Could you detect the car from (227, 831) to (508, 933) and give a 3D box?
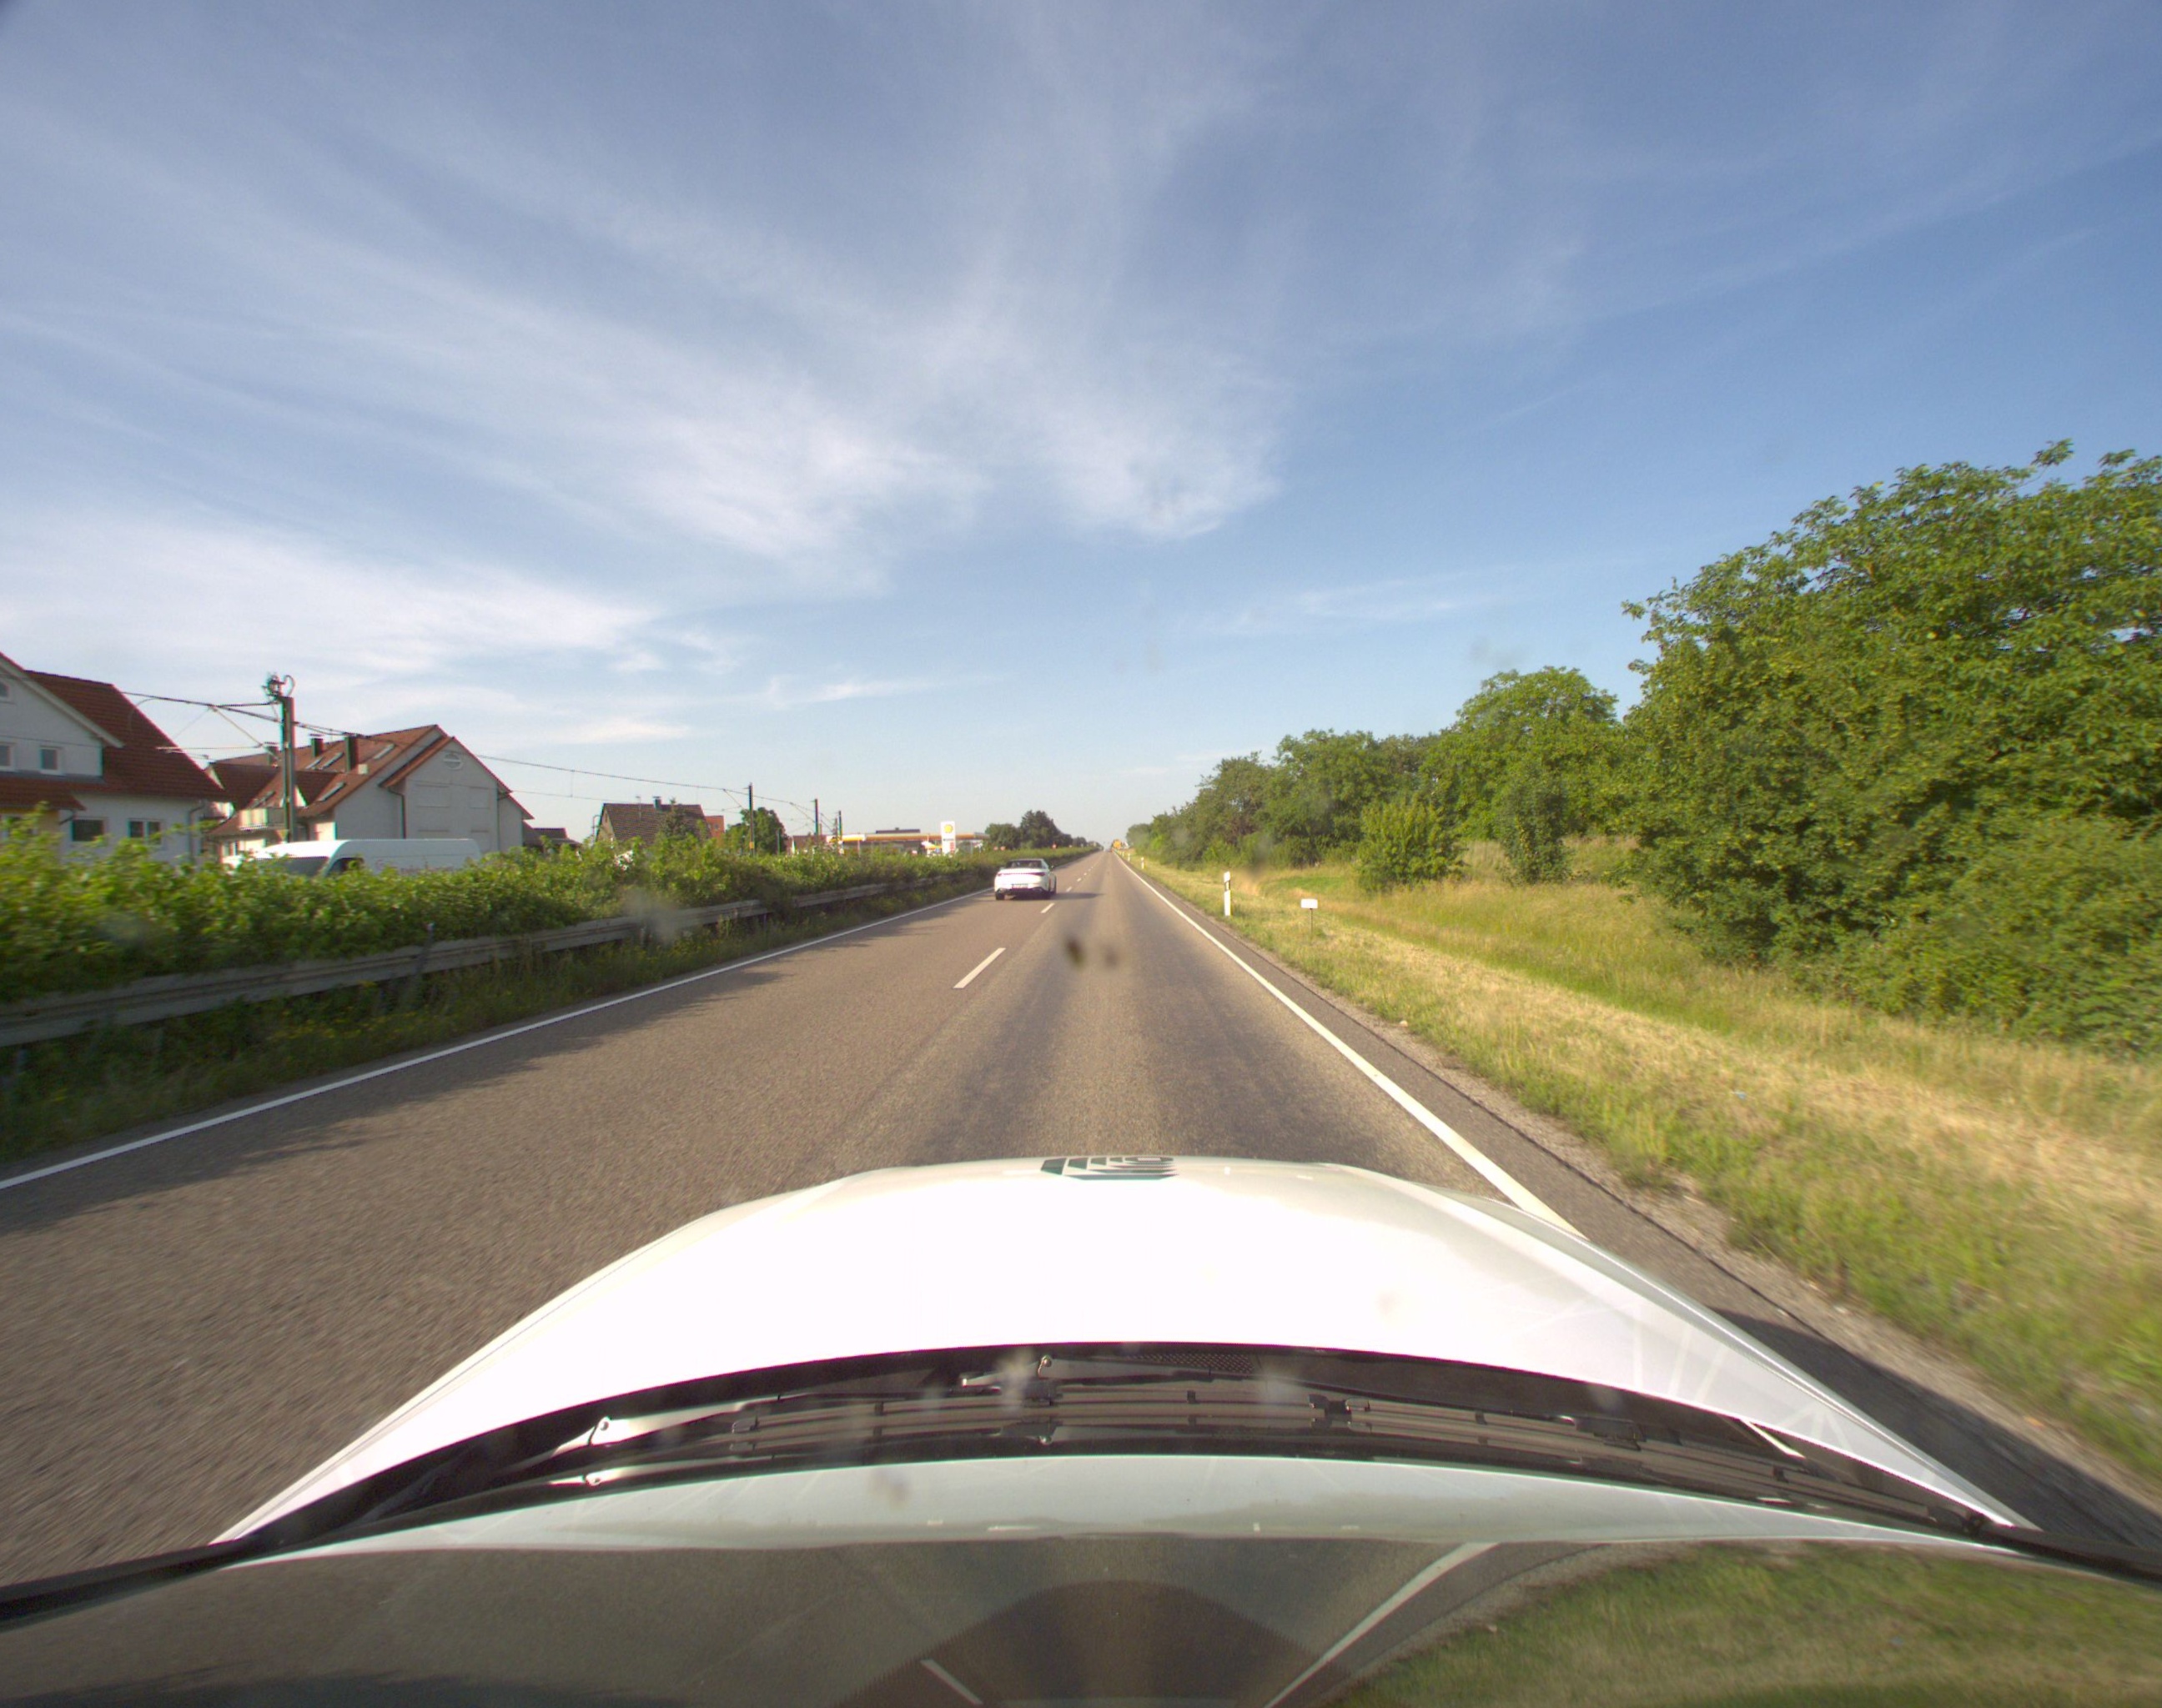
[{"bbox_3d":[-15.829,0.560,18.544,1.986,2.013,4.874,0,0,2],"label":"car"}]

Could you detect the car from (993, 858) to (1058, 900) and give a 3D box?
[{"bbox_3d":[-1.866,0.819,28.970,1.764,1.337,4.953,0,0,2],"label":"car"}]
